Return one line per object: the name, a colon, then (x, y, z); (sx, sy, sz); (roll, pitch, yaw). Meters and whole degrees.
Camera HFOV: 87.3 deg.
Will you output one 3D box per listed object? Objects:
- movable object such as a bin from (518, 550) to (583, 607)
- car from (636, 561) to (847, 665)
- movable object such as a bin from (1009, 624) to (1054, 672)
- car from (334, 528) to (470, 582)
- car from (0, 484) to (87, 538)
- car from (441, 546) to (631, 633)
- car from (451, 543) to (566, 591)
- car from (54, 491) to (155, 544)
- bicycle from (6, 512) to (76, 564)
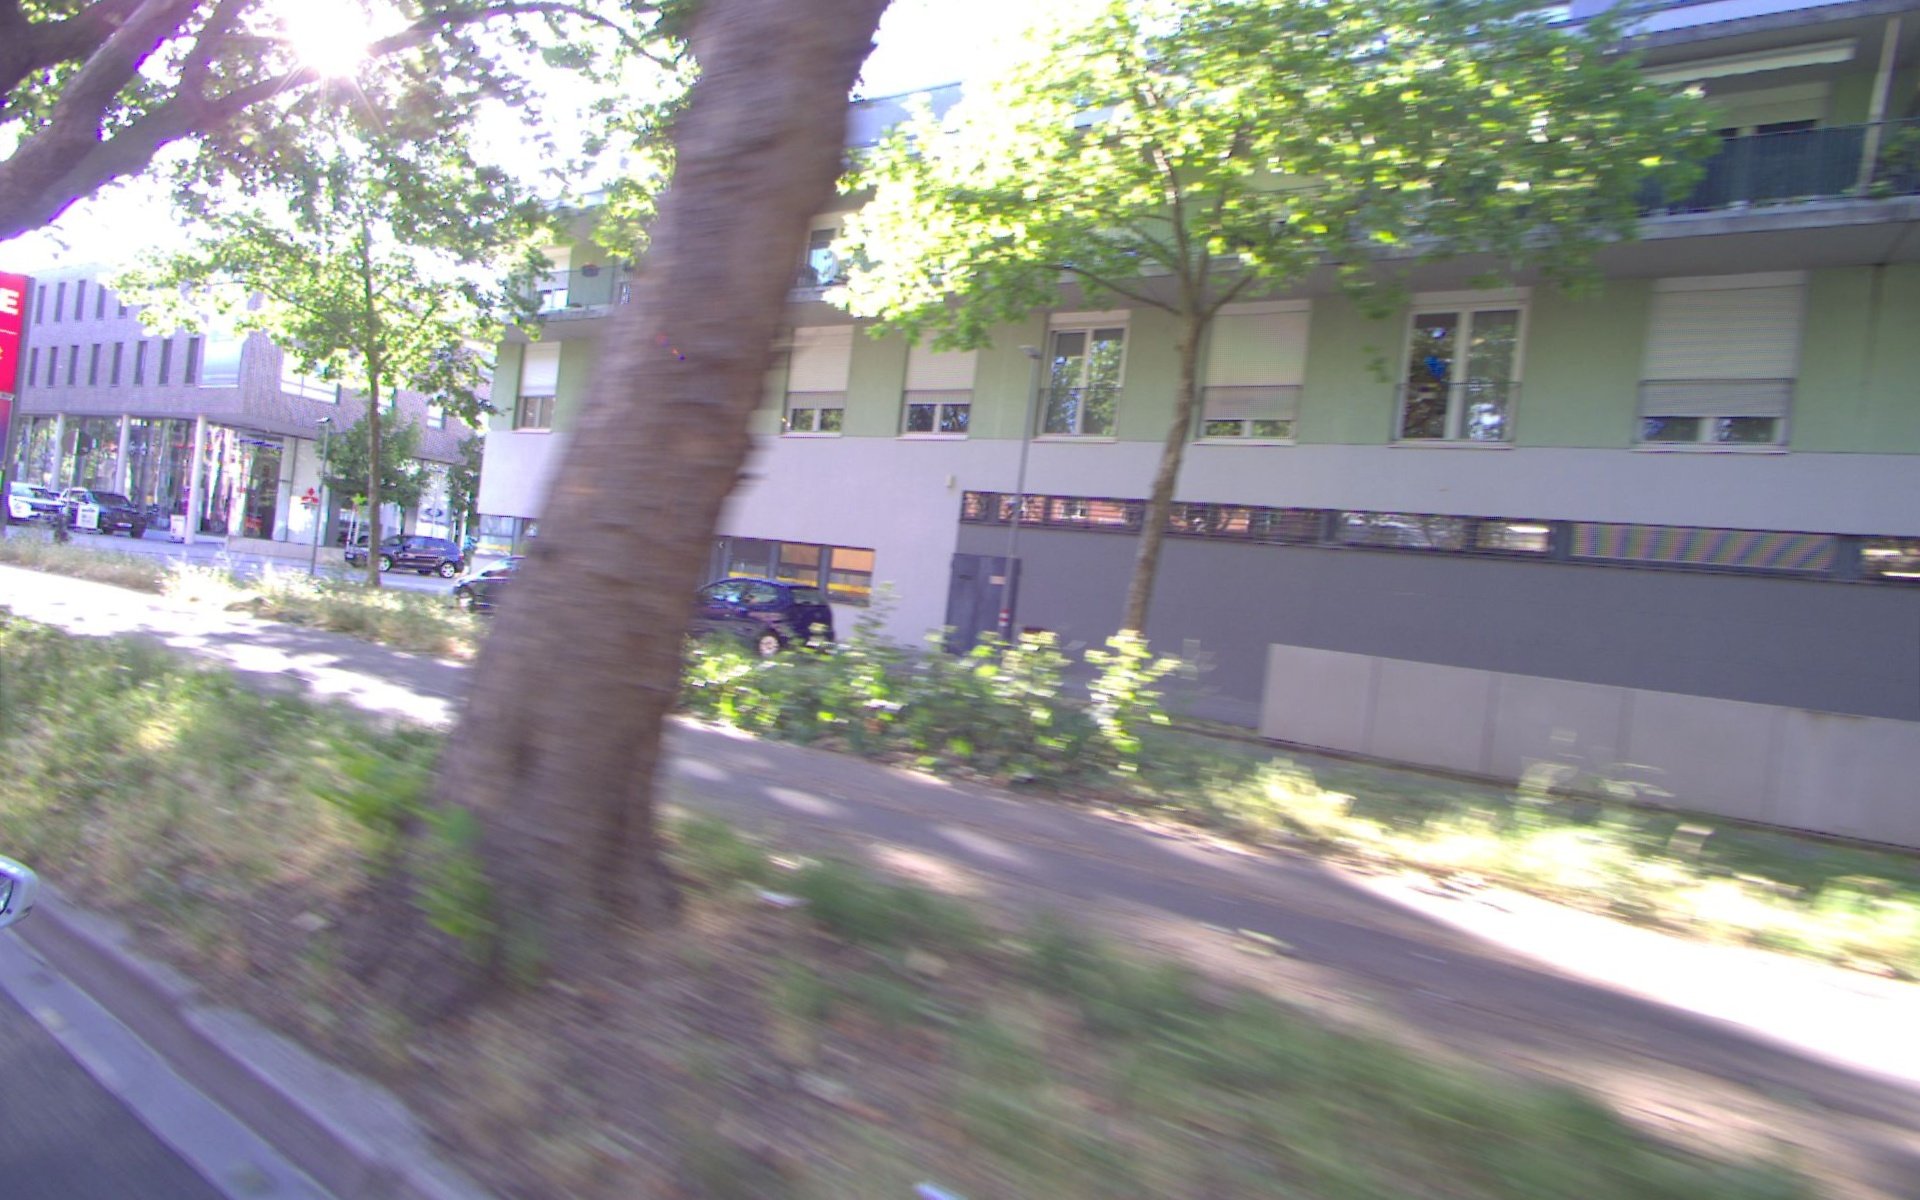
movable object such as a bin: (-12.152, -0.626, 29.852); (1.388, 1.481, 1.191); (7, 0, 43)
car: (-4.329, 0.249, 19.875); (3.697, 1.572, 1.861); (7, 0, 31)
movable object such as a bin: (1.544, 1.050, 21.772); (0.652, 0.955, 0.629); (7, 1, 32)
car: (-23.243, -1.844, 42.088); (1.995, 1.683, 4.490); (7, 1, 28)
car: (-37.708, -3.676, 40.953); (4.108, 1.755, 1.879); (7, 0, 28)
car: (-9.817, -0.245, 23.233); (4.053, 1.487, 1.862); (7, 0, 29)
car: (-20.858, -1.496, 46.671); (1.995, 1.683, 4.490); (7, 1, 28)
car: (-36.588, -3.538, 43.013); (4.111, 1.755, 1.988); (7, 0, 31)
bicycle: (-21.085, -1.431, 23.079); (1.458, 1.016, 0.384); (7, 1, 15)
